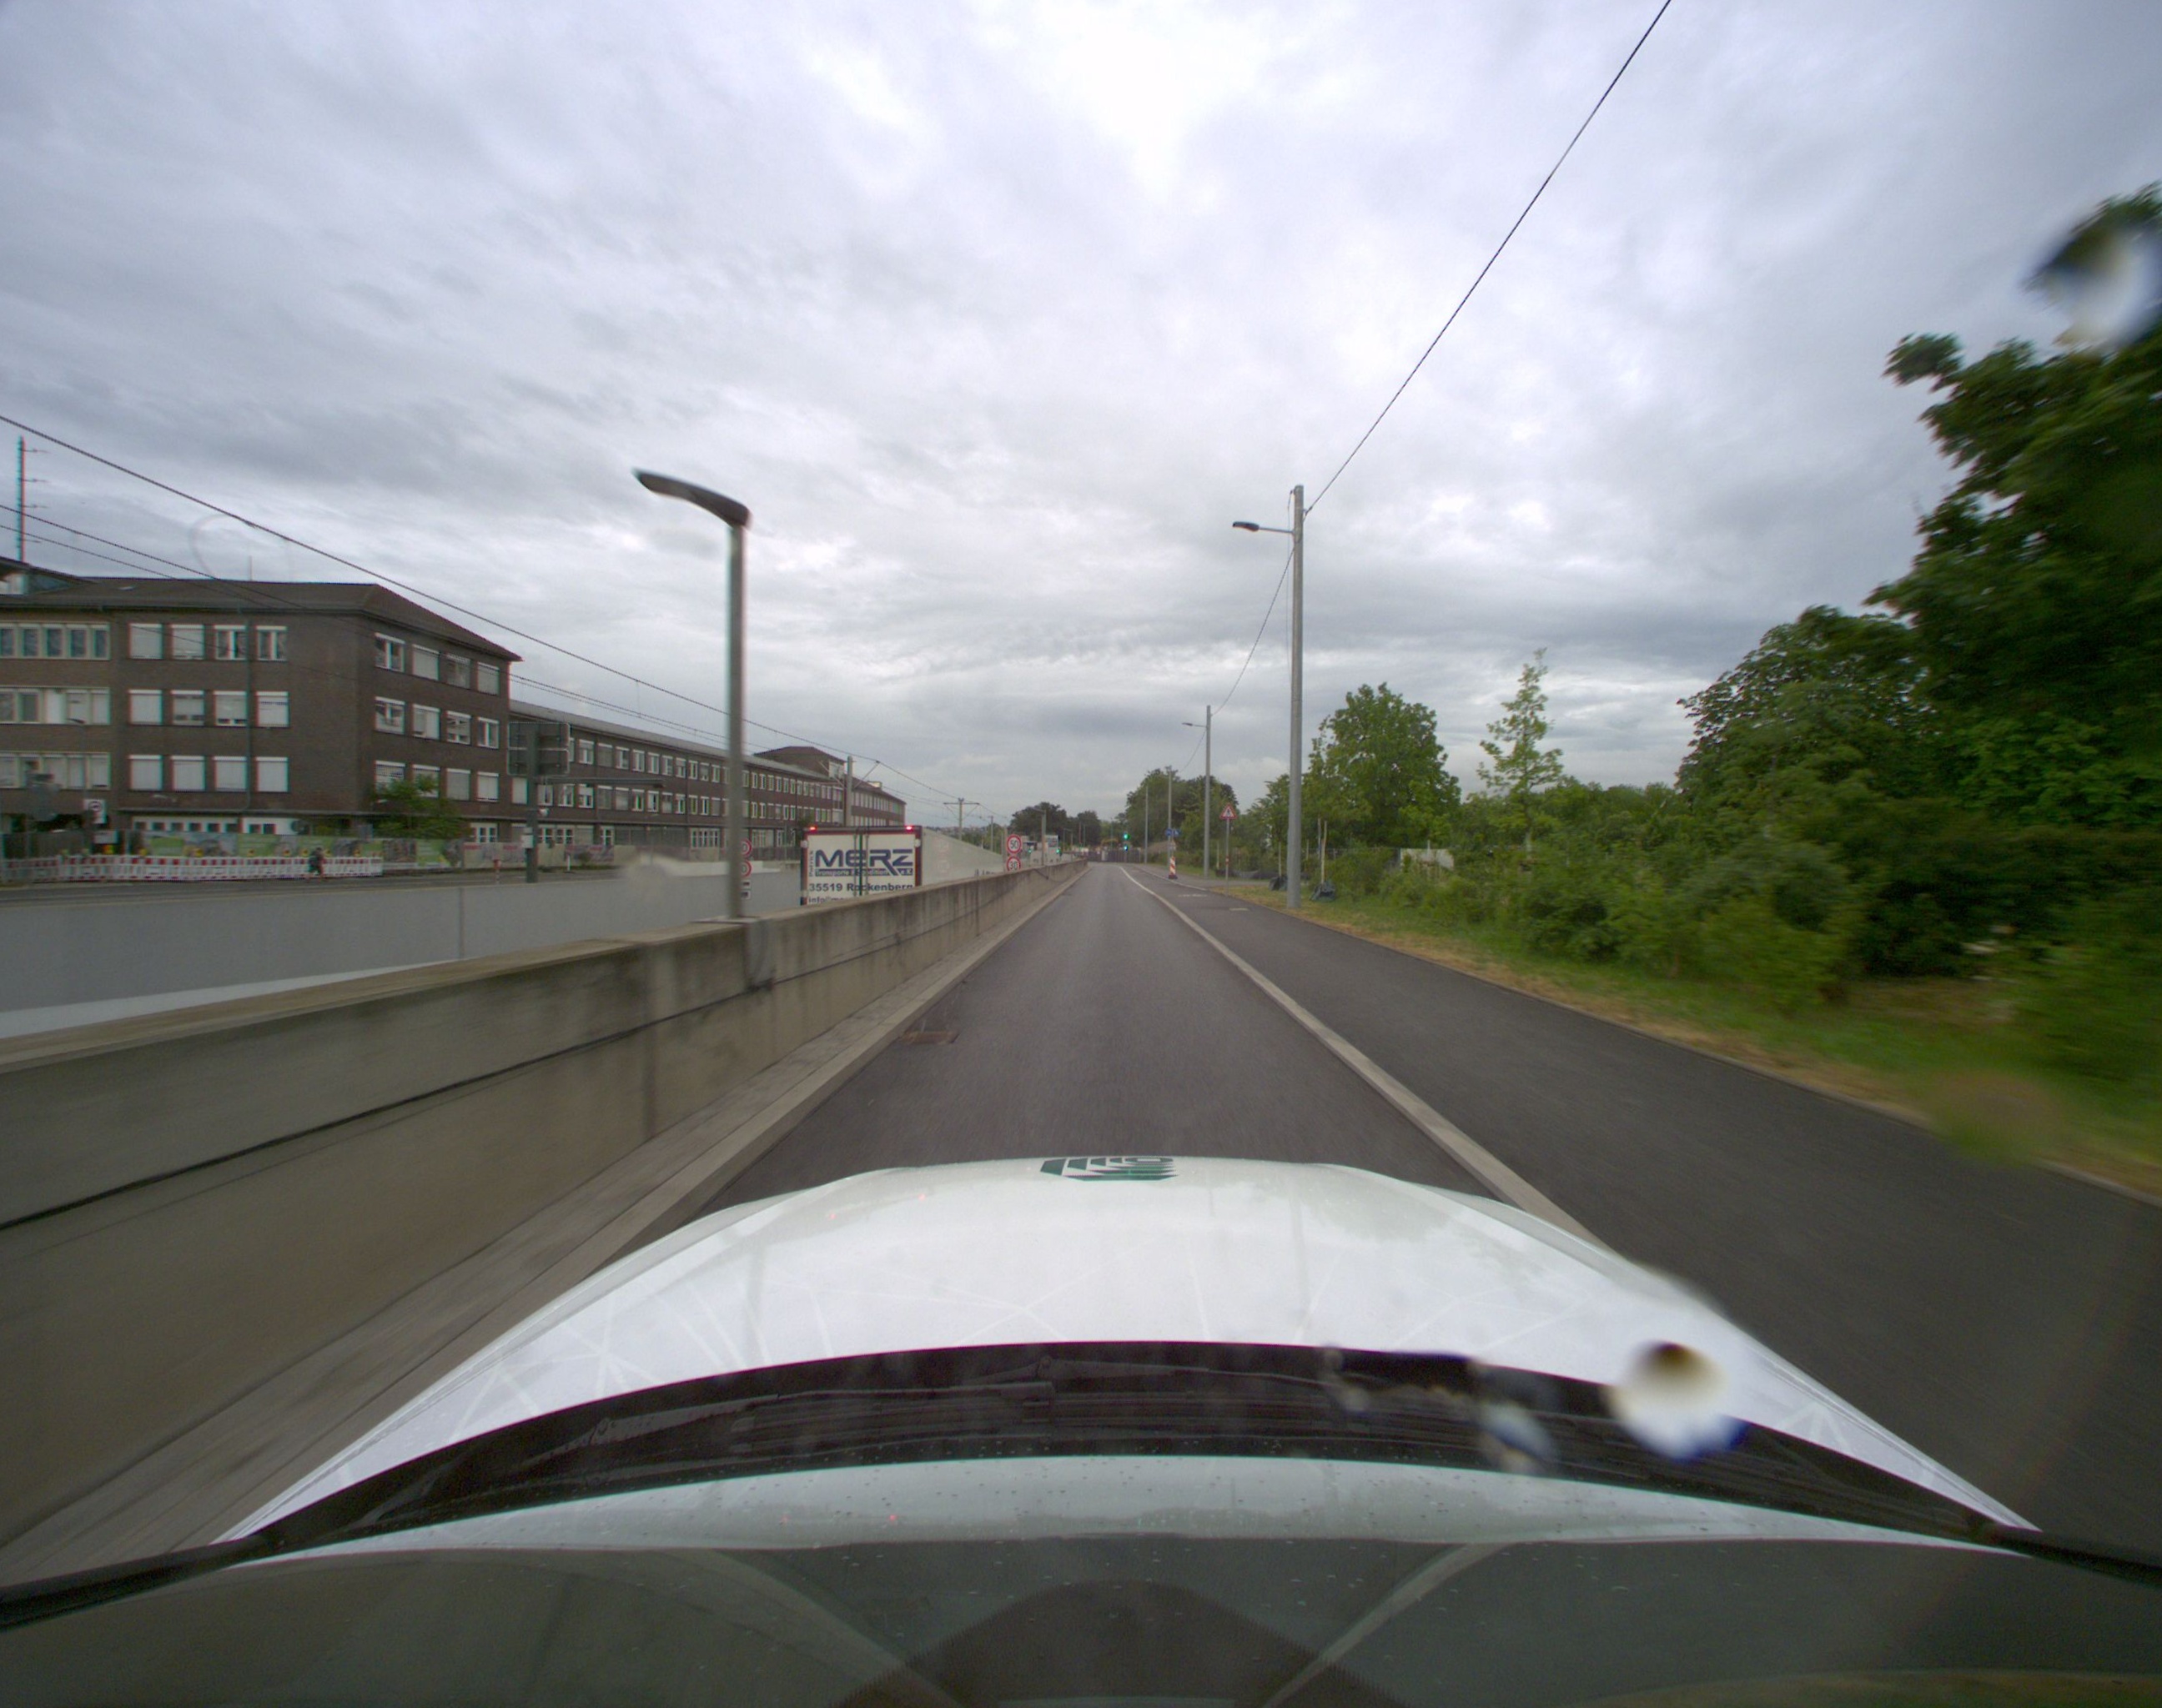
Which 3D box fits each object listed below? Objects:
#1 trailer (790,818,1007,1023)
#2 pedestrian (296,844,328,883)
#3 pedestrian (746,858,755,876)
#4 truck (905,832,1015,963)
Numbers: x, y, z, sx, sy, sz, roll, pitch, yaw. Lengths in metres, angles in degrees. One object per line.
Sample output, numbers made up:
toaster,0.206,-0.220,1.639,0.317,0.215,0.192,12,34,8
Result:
trailer,-4.428,1.388,23.649,2.751,4.253,13.191,-1,0,2
pedestrian,-35.193,0.433,37.274,0.613,1.750,0.840,0,0,2
pedestrian,-36.794,1.475,90.648,0.669,2.014,0.652,0,-1,-1
truck,-4.172,1.421,29.576,2.745,4.205,6.310,-1,0,2
